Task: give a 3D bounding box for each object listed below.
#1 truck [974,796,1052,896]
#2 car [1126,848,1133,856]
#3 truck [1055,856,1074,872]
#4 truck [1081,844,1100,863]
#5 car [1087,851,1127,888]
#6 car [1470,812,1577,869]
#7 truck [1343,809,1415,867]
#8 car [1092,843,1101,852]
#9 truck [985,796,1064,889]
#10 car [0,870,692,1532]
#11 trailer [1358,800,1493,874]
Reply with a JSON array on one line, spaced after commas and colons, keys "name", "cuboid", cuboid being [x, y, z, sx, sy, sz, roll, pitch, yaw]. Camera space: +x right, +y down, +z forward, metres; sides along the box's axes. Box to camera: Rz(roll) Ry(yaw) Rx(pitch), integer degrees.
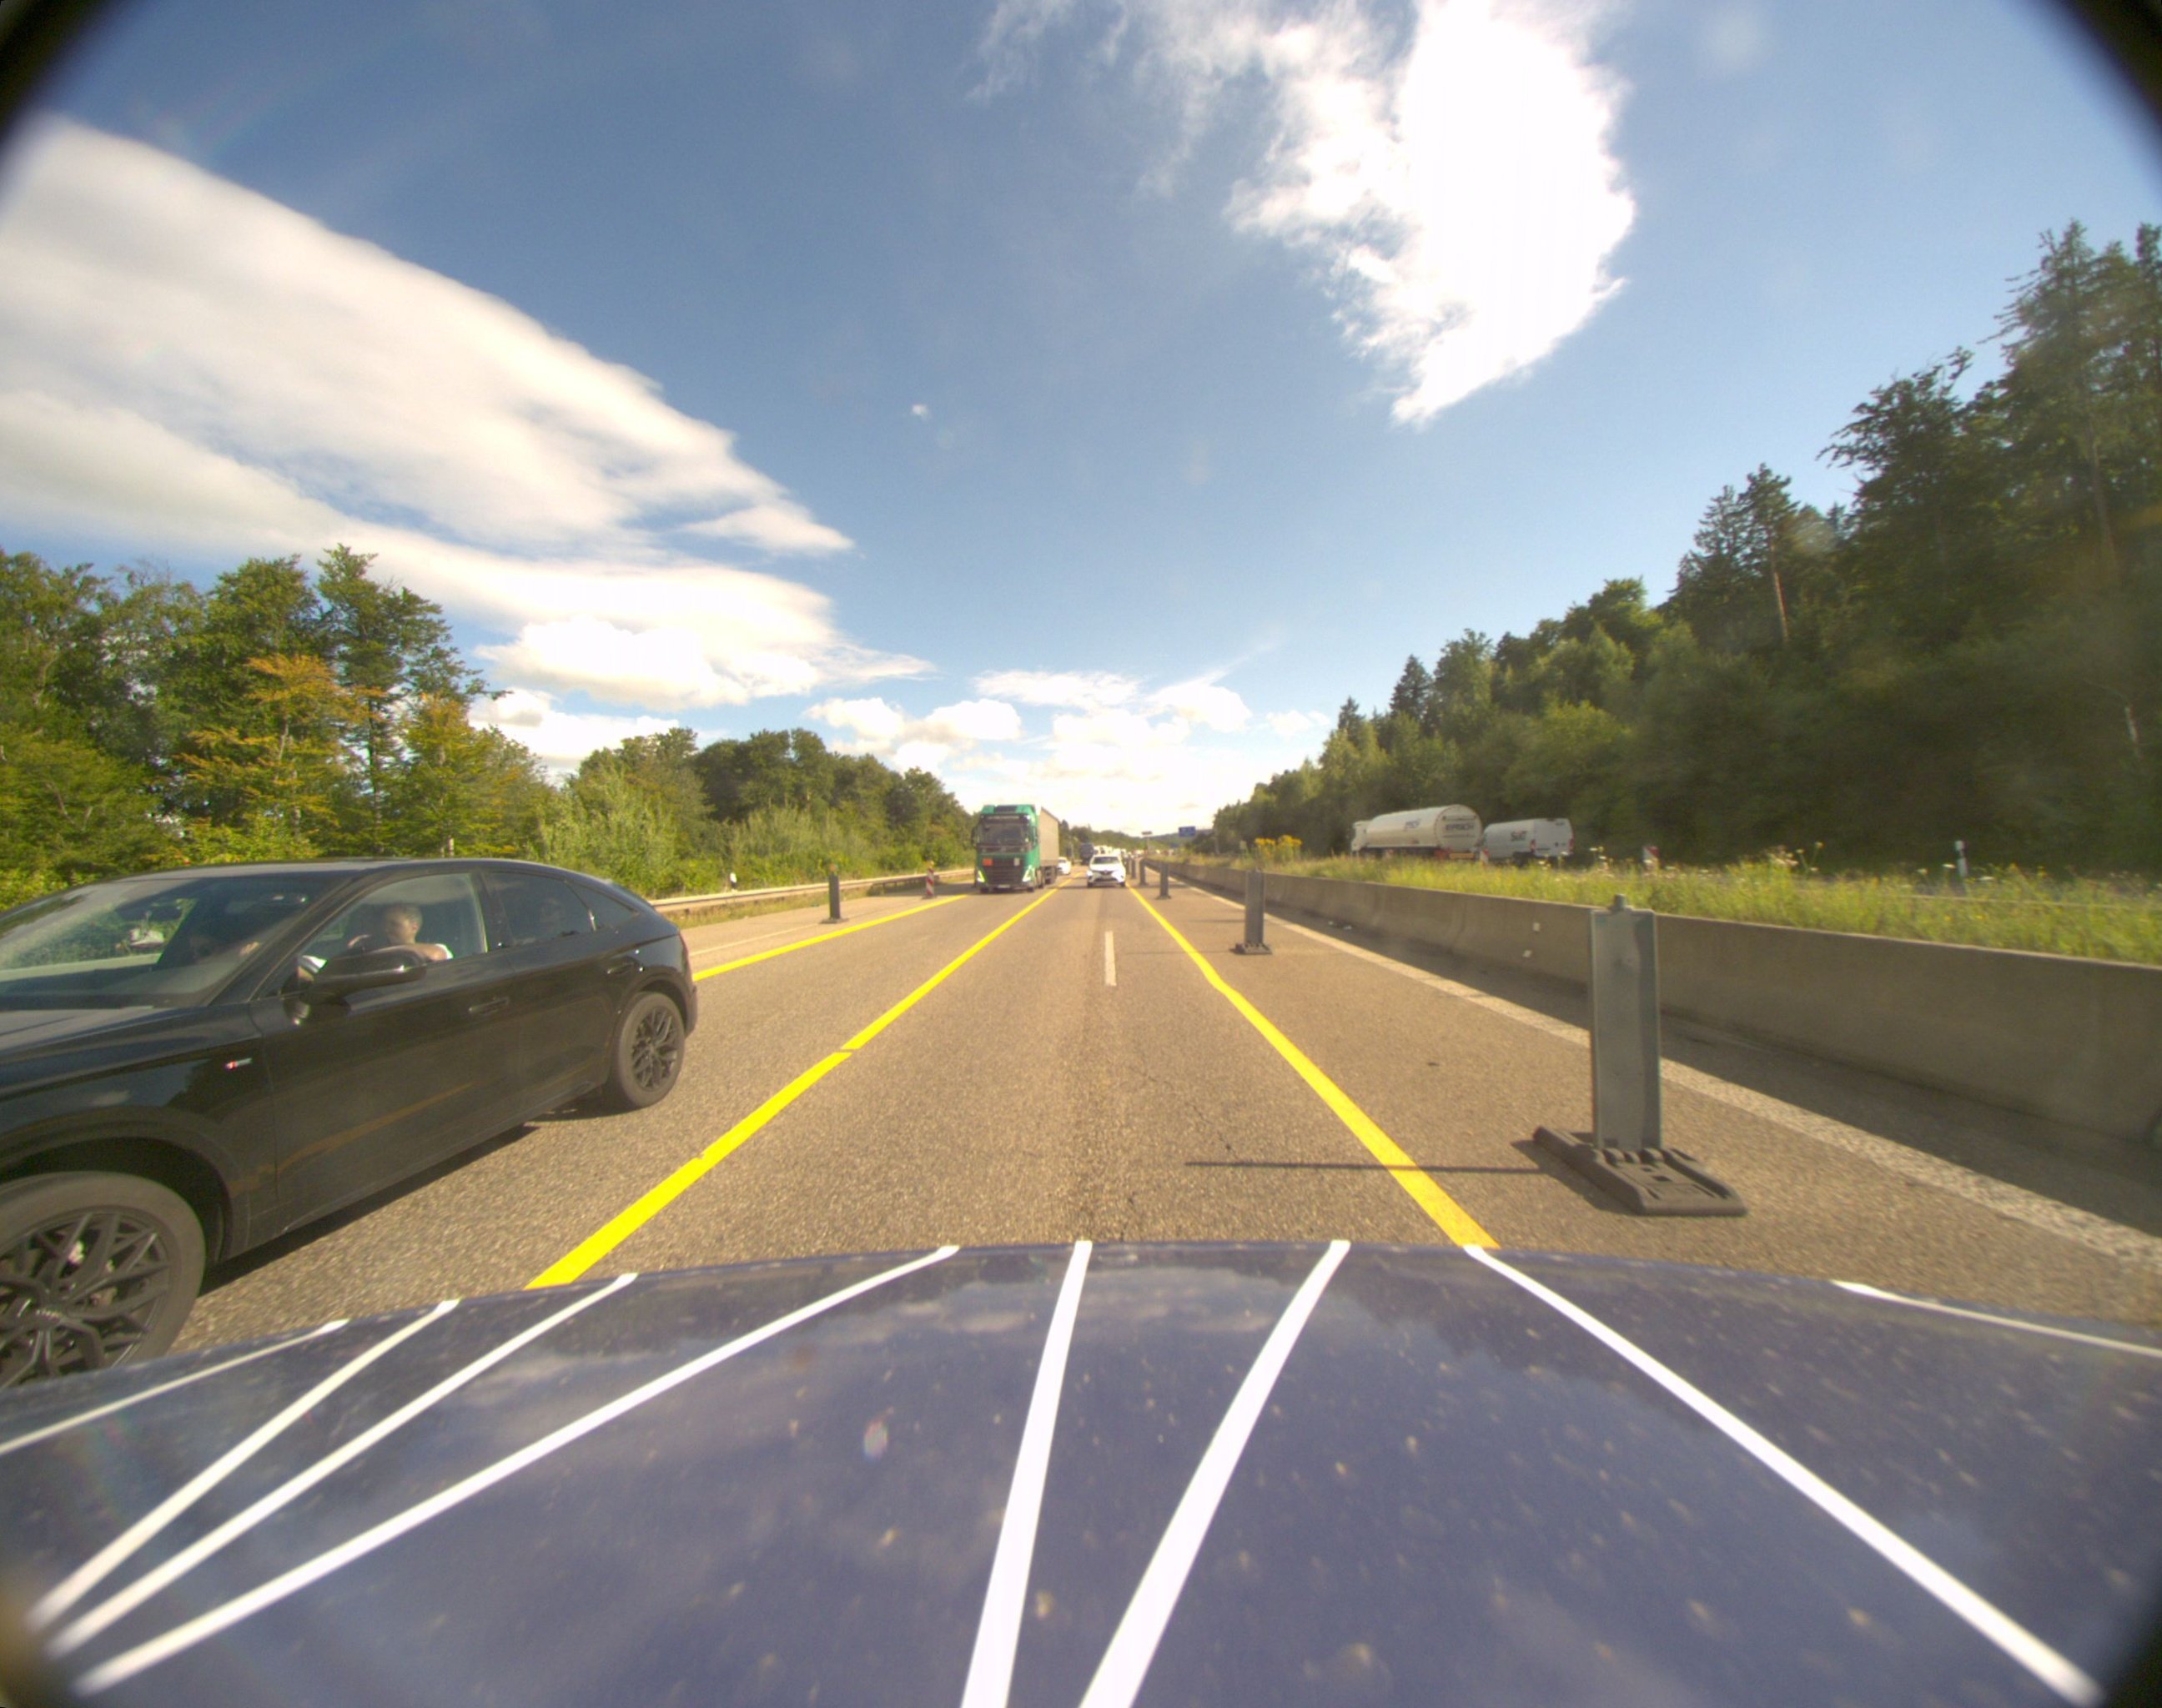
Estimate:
[{"name": "truck", "cuboid": [-2.959, -0.362, 35.031, 2.527, 4.075, 6.857, -2, 1, 2]}, {"name": "car", "cuboid": [13.578, -0.539, 213.323, 1.998, 2.002, 4.001, -2, 1, 5]}, {"name": "truck", "cuboid": [-1.362, 0.835, 63.349, 1.467, 1.215, 3.087, -2, 1, 0]}, {"name": "truck", "cuboid": [1.706, -0.142, 130.849, 2.576, 3.167, 6.804, -2, 1, 5]}, {"name": "car", "cuboid": [1.280, 0.721, 36.722, 1.782, 1.593, 4.018, -2, 1, 3]}, {"name": "car", "cuboid": [23.100, -0.695, 40.091, 2.032, 2.669, 6.523, -2, 1, 3]}, {"name": "truck", "cuboid": [19.031, -1.008, 48.795, 2.791, 3.469, 4.939, -2, 1, 3]}, {"name": "car", "cuboid": [3.302, -1.425, 163.728, 1.750, 1.787, 4.000, -2, 1, 2]}, {"name": "truck", "cuboid": [-2.719, -0.491, 41.351, 2.470, 4.119, 14.213, -2, 0, 2]}, {"name": "car", "cuboid": [-3.676, 0.966, 3.166, 1.782, 1.593, 4.293, -2, 1, 1]}, {"name": "trailer", "cuboid": [18.793, -0.886, 42.499, 2.808, 3.469, 11.113, -2, 1, 2]}]
